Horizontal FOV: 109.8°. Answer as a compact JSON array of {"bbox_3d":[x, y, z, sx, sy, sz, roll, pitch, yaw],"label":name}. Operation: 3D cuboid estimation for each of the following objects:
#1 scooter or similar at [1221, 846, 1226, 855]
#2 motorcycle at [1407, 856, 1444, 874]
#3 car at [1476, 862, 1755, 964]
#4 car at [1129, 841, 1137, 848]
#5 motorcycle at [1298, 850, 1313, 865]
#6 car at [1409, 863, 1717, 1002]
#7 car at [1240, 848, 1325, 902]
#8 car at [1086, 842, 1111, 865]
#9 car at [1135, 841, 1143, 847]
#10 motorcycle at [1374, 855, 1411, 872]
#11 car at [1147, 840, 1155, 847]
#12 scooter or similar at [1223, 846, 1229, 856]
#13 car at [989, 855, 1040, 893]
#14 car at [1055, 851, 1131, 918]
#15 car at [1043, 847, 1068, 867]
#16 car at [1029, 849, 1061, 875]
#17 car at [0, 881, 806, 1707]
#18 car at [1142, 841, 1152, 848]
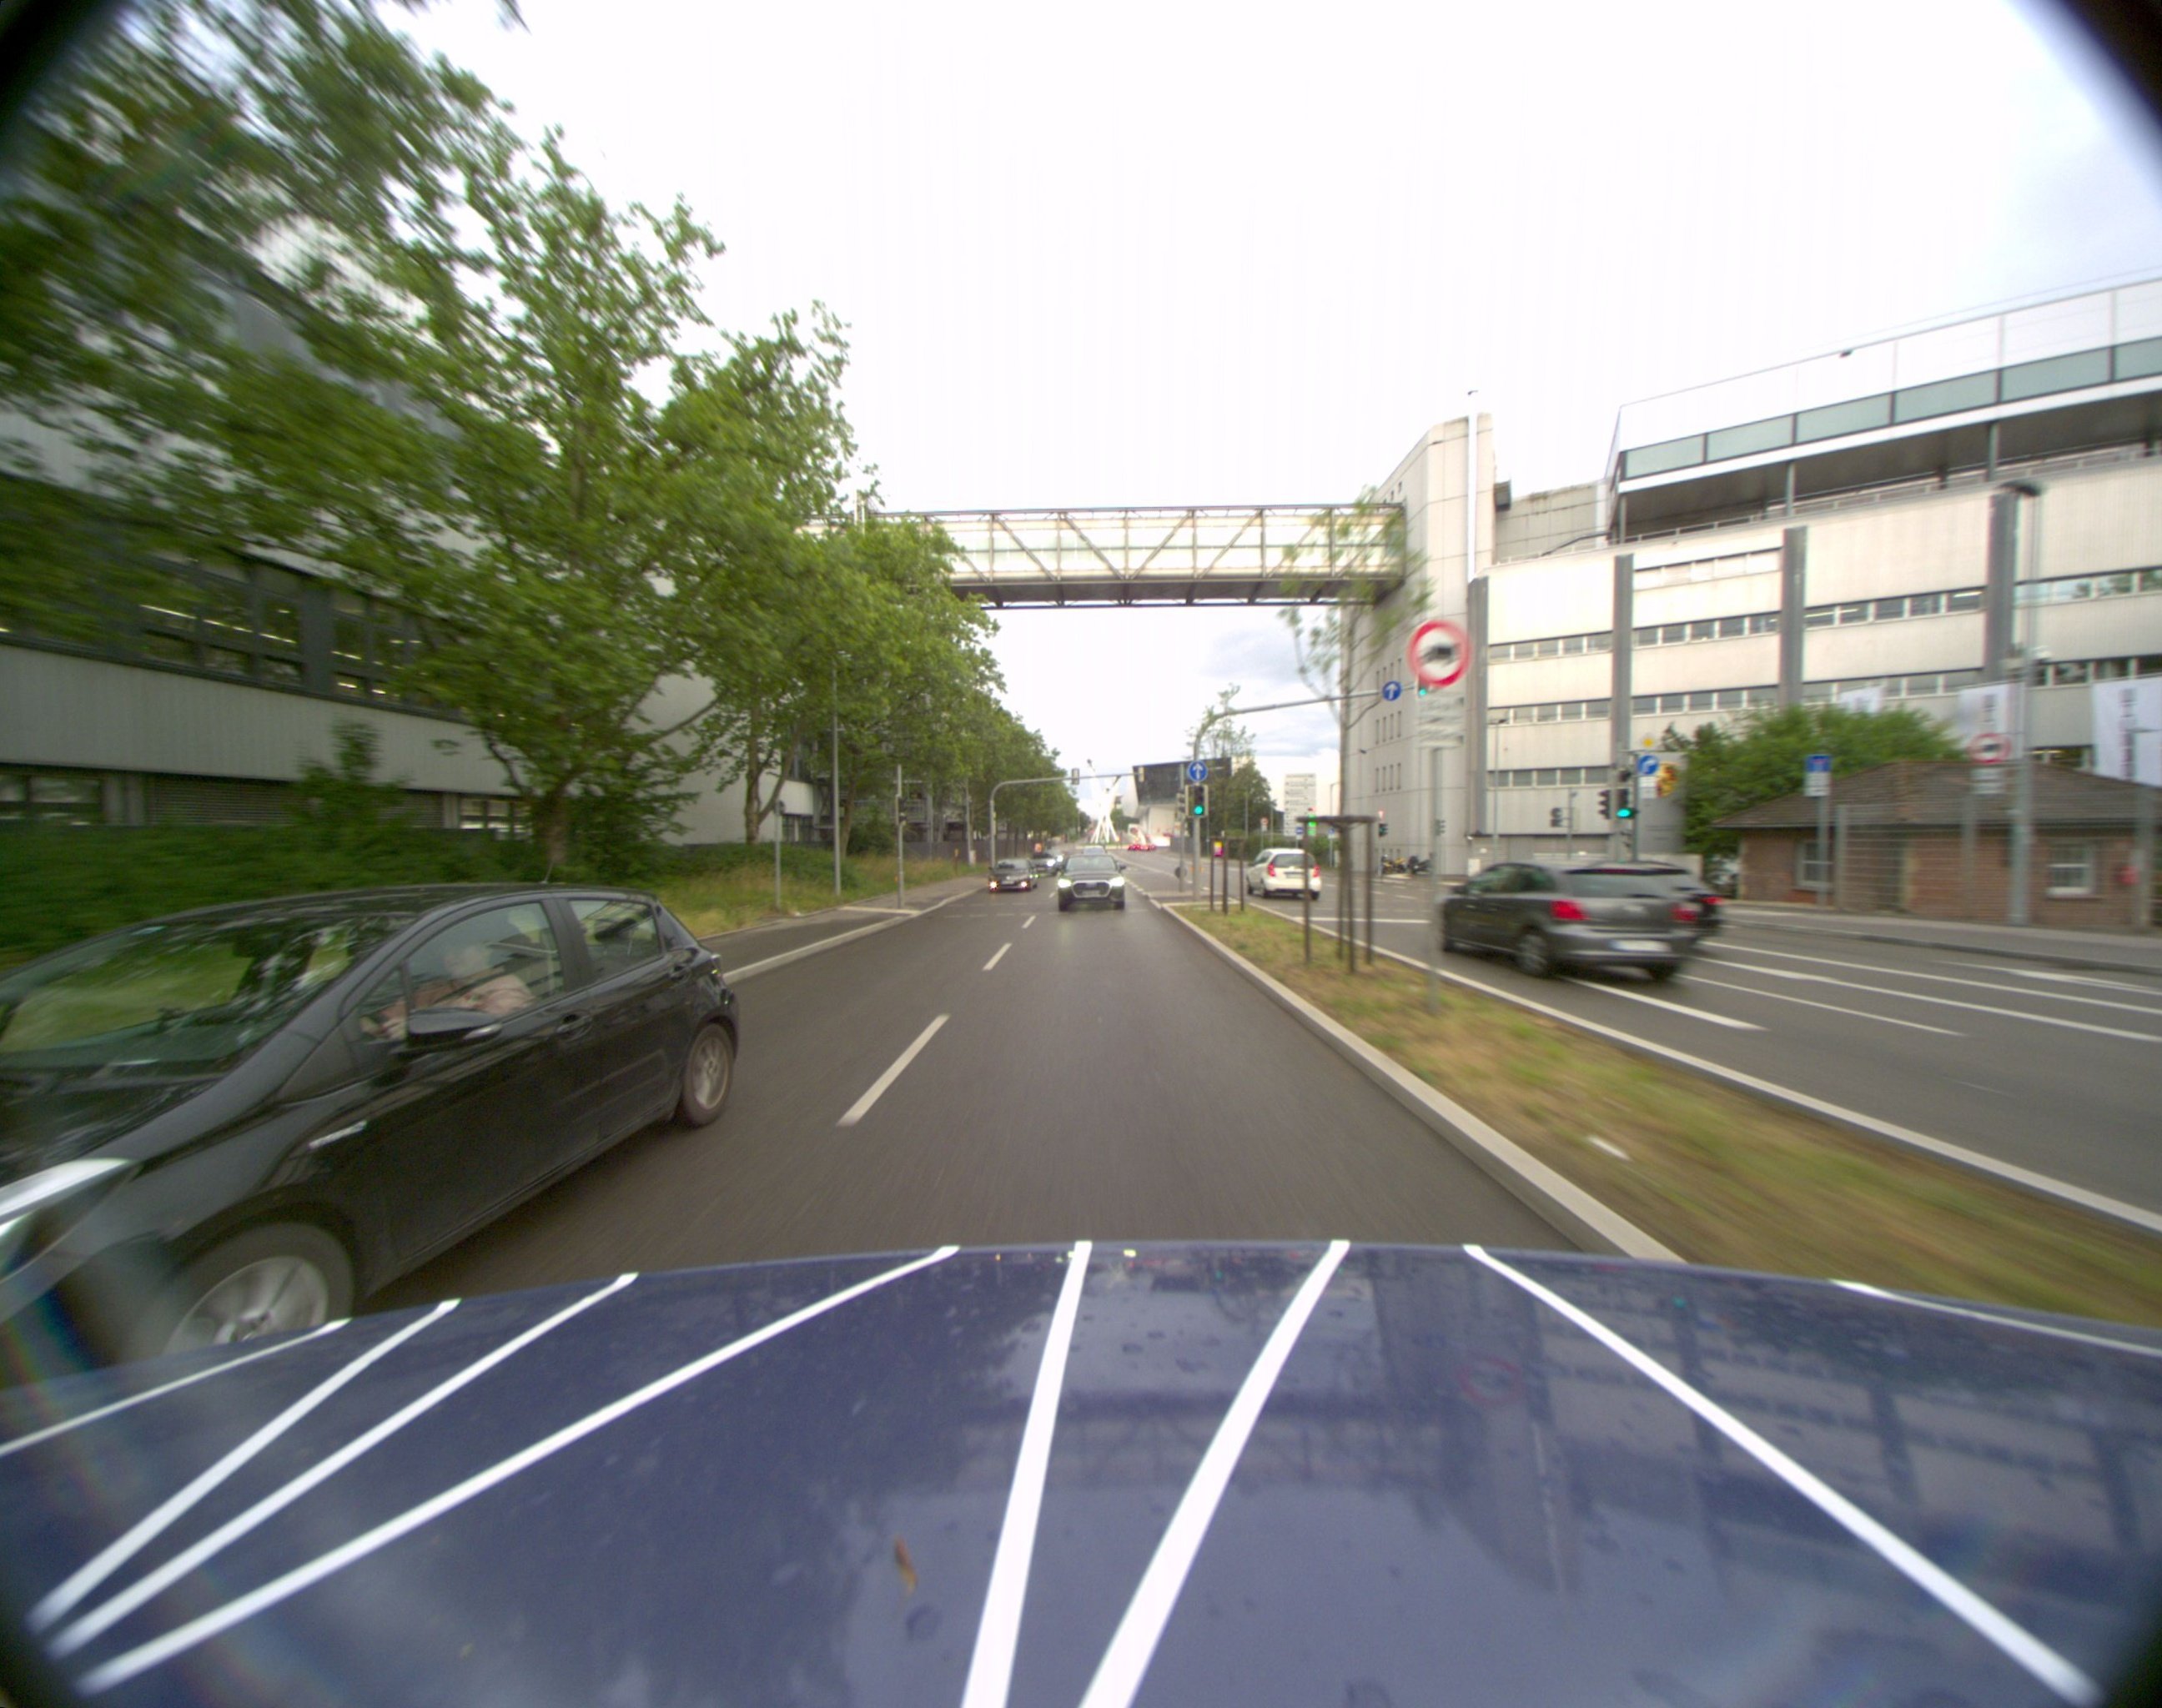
[{"bbox_3d":[17.809,-0.470,95.014,0.394,1.123,1.569,1,1,2],"label":"scooter or similar"},{"bbox_3d":[21.313,0.688,47.107,0.627,1.021,2.165,0,1,-26],"label":"motorcycle"},{"bbox_3d":[9.138,0.895,13.592,1.777,1.396,4.614,1,1,1],"label":"car"},{"bbox_3d":[12.296,-2.266,179.466,1.776,1.580,4.485,1,1,2],"label":"car"},{"bbox_3d":[17.744,0.291,60.112,0.569,1.156,2.038,1,1,-1],"label":"motorcycle"},{"bbox_3d":[6.087,0.871,10.265,1.581,1.396,4.111,1,1,1],"label":"car"},{"bbox_3d":[6.586,0.620,25.291,1.776,1.580,4.485,1,1,2],"label":"car"},{"bbox_3d":[1.480,-0.049,66.077,2.035,1.920,4.331,-1,1,1],"label":"car"},{"bbox_3d":[14.247,-2.439,186.061,1.776,1.580,4.485,1,1,2],"label":"car"},{"bbox_3d":[20.109,0.631,49.092,0.628,1.021,2.165,0,2,-34],"label":"motorcycle"},{"bbox_3d":[16.995,-2.606,184.800,1.776,1.580,4.485,1,1,2],"label":"car"},{"bbox_3d":[17.796,-0.381,93.208,0.394,1.123,1.569,1,1,2],"label":"scooter or similar"},{"bbox_3d":[-2.812,0.801,32.916,1.749,1.422,4.516,-1,1,1],"label":"car"},{"bbox_3d":[0.323,0.730,21.286,1.820,1.536,5.607,-1,1,1],"label":"car"},{"bbox_3d":[-2.104,0.235,63.637,1.820,1.571,4.331,-1,1,1],"label":"car"},{"bbox_3d":[-2.304,0.465,49.851,1.825,1.581,4.331,-1,1,1],"label":"car"},{"bbox_3d":[-3.014,1.000,3.472,1.749,1.461,4.640,-1,1,1],"label":"car"},{"bbox_3d":[15.402,-2.325,177.930,2.036,1.580,4.485,1,1,2],"label":"car"}]
